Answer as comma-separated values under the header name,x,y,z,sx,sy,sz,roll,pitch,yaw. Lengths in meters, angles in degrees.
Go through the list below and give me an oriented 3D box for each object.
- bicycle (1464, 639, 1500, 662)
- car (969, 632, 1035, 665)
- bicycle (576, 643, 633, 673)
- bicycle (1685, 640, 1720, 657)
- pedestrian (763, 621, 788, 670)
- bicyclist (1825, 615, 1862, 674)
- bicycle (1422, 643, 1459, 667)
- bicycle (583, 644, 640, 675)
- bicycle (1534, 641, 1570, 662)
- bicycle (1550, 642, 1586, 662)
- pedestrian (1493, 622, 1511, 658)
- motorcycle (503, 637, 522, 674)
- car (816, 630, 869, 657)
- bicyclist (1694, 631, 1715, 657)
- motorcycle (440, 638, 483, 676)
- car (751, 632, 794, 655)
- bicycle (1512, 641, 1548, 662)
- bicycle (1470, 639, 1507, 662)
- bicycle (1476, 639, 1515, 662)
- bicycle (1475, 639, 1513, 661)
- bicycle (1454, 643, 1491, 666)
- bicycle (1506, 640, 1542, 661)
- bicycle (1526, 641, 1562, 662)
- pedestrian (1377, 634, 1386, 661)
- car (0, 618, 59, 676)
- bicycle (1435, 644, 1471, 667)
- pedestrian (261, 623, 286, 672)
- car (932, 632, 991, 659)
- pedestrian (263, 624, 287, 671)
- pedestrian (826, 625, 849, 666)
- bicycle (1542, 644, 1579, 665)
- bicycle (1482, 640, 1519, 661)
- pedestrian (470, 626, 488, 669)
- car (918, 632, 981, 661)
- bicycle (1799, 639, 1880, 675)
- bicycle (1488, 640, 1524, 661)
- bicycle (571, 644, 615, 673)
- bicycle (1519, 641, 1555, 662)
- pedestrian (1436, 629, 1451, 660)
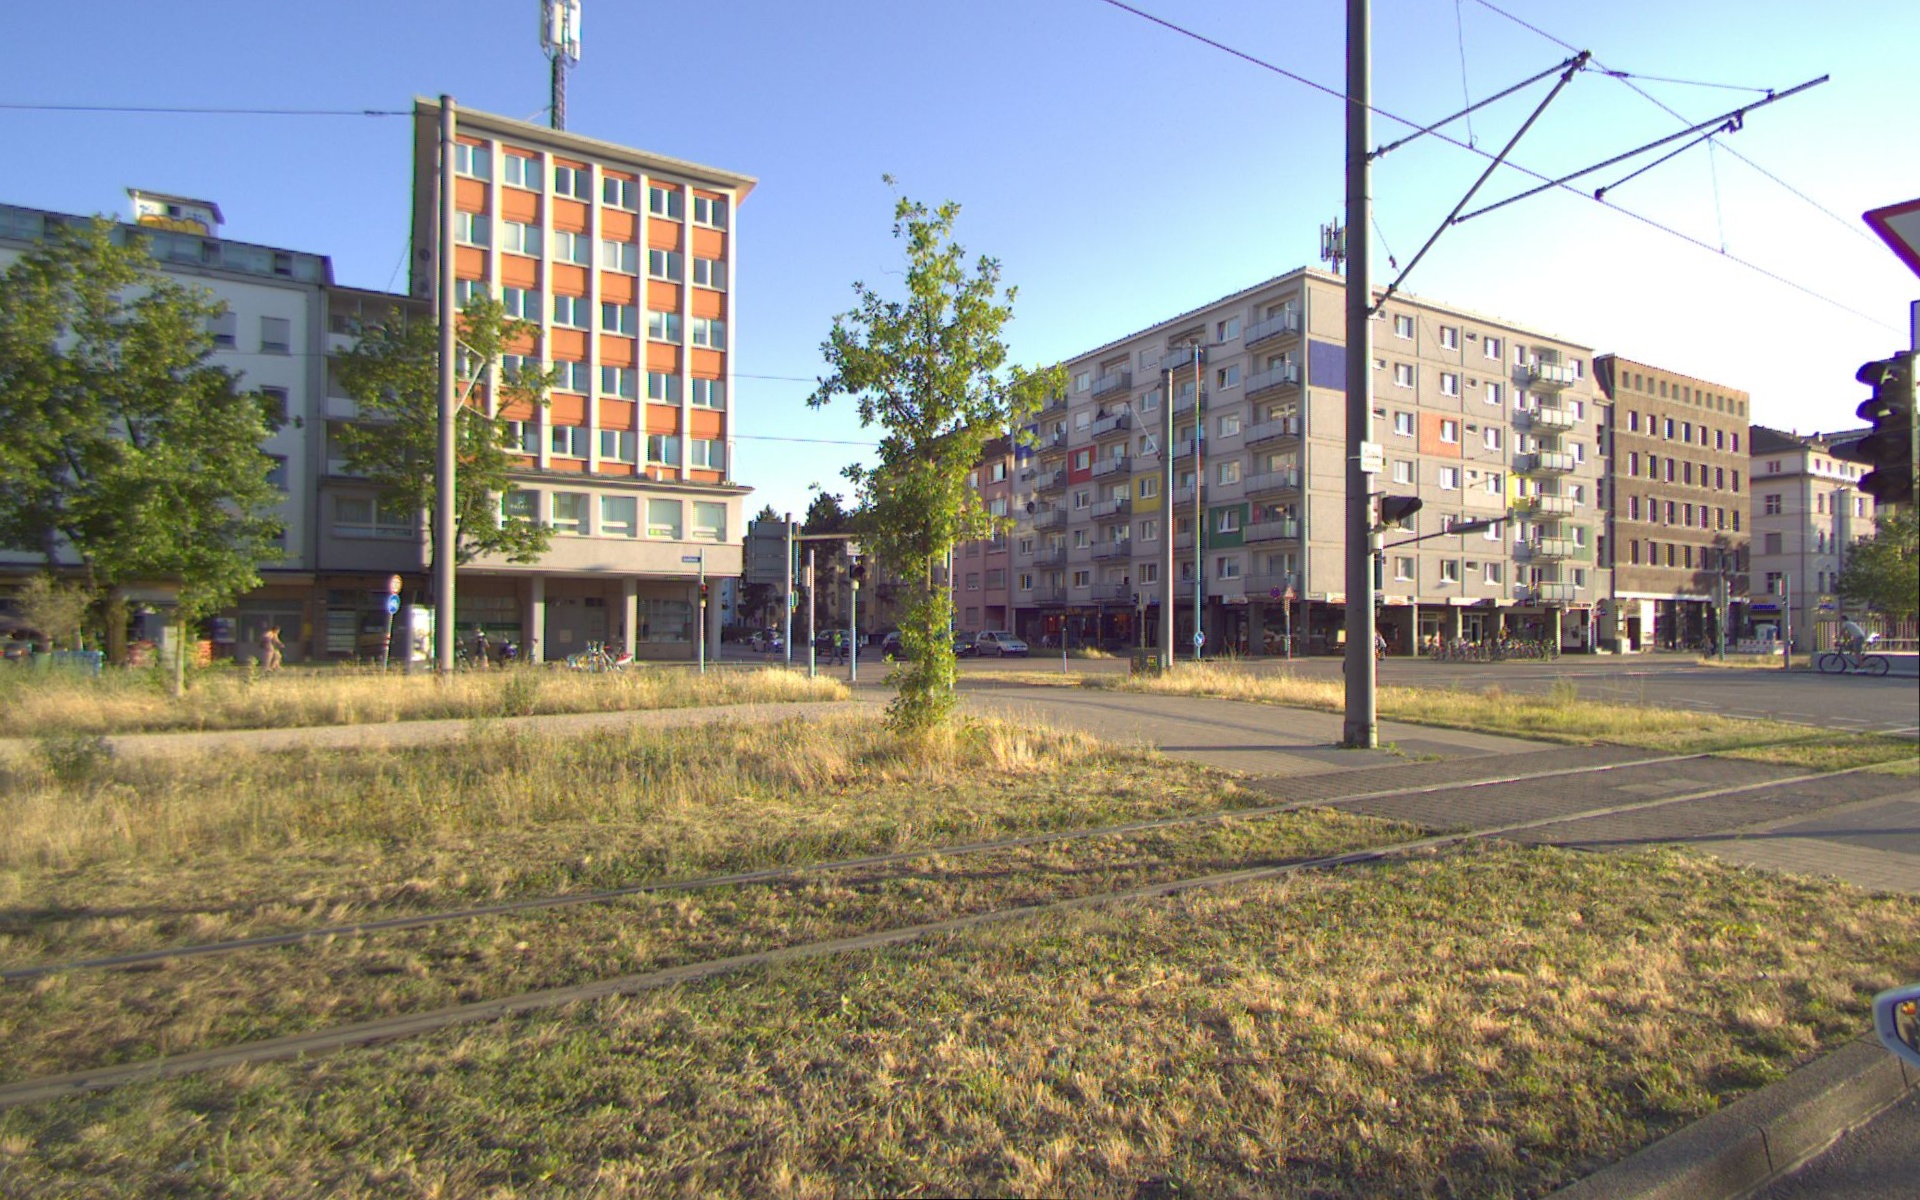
name,x,y,z,sx,sy,sz,roll,pitch,yaw
bicycle,28.192,2.732,54.287,0.534,1.183,1.758,1,-1,-29
car,2.302,2.648,55.547,1.974,1.506,3.973,2,1,-26
bicycle,-13.258,2.142,37.501,1.972,1.089,0.465,1,-1,-31
bicycle,42.519,2.767,57.522,1.636,0.957,0.509,0,-1,-4
pedestrian,-7.566,1.860,41.093,0.708,1.972,0.720,-1,-2,43
bicyclist,28.301,1.414,32.176,0.641,1.842,0.786,1,-1,-41
bicycle,25.808,2.941,53.949,0.631,1.224,1.786,1,-2,-30
bicycle,-12.499,2.121,36.023,1.885,1.089,0.465,1,-1,-31
bicycle,33.865,2.935,57.472,0.739,1.194,1.684,1,-1,-28
bicycle,35.183,3.005,58.163,0.688,1.159,1.684,1,-1,-28
pedestrian,33.044,2.432,61.242,0.783,2.207,0.599,1,-1,-30
motorcycle,-16.941,2.091,38.011,0.538,1.335,1.823,1,-1,-27
car,-7.225,2.662,61.434,1.975,1.551,3.971,1,-1,-28
bicyclist,42.628,2.523,57.537,0.841,1.445,0.501,0,-1,-3
motorcycle,-17.784,2.020,35.853,1.373,1.335,0.378,1,-1,-28
car,-13.549,3.079,72.288,1.975,1.551,3.971,1,-2,-28
bicycle,32.047,2.873,56.514,0.561,1.134,1.753,1,-1,-29
bicycle,28.713,2.754,54.571,0.561,1.197,1.761,1,-1,-29
bicycle,29.259,2.775,54.903,0.644,1.206,1.780,1,-2,-30
bicycle,29.650,2.754,55.810,0.632,1.176,1.823,1,-2,-29
bicycle,27.626,2.930,54.129,0.592,1.154,1.749,1,-1,-29
bicycle,31.541,2.838,56.232,0.545,1.132,1.747,1,-1,-29
bicycle,33.211,2.935,57.111,0.696,1.168,1.684,1,-1,-28
pedestrian,21.817,2.464,51.964,0.376,1.401,0.394,0,-1,32
car,-30.091,1.387,30.233,3.927,1.706,1.997,1,-1,-9
bicycle,26.725,3.002,54.473,0.601,1.157,1.768,1,-2,-29
pedestrian,-26.005,1.797,38.059,0.696,1.816,0.590,1,-1,-30
car,0.059,2.669,59.807,1.974,1.505,3.974,1,-2,-26
pedestrian,-26.320,1.823,38.619,0.690,1.774,0.646,1,-1,-30
pedestrian,-5.737,2.119,46.912,0.879,1.855,0.885,1,-1,-20
bicycle,34.547,3.131,57.814,0.739,1.185,1.684,1,-1,-28
bicycle,30.205,2.814,56.147,0.598,1.174,1.768,1,-2,-29
pedestrian,-20.332,2.008,42.489,0.623,1.792,0.593,1,-1,-30
car,-0.608,2.537,55.150,1.974,1.505,3.974,2,-2,-26
bicycle,28.215,1.811,32.247,0.627,1.089,1.884,1,-2,-42
bicycle,30.726,2.850,56.548,0.598,1.151,1.763,1,-1,-29
bicycle,-14.031,2.221,38.393,1.543,1.089,0.392,1,-1,-31
bicycle,32.606,2.899,56.796,0.626,1.139,1.720,2,-2,-28
pedestrian,26.795,2.449,55.644,0.541,1.706,0.576,1,-1,-34
